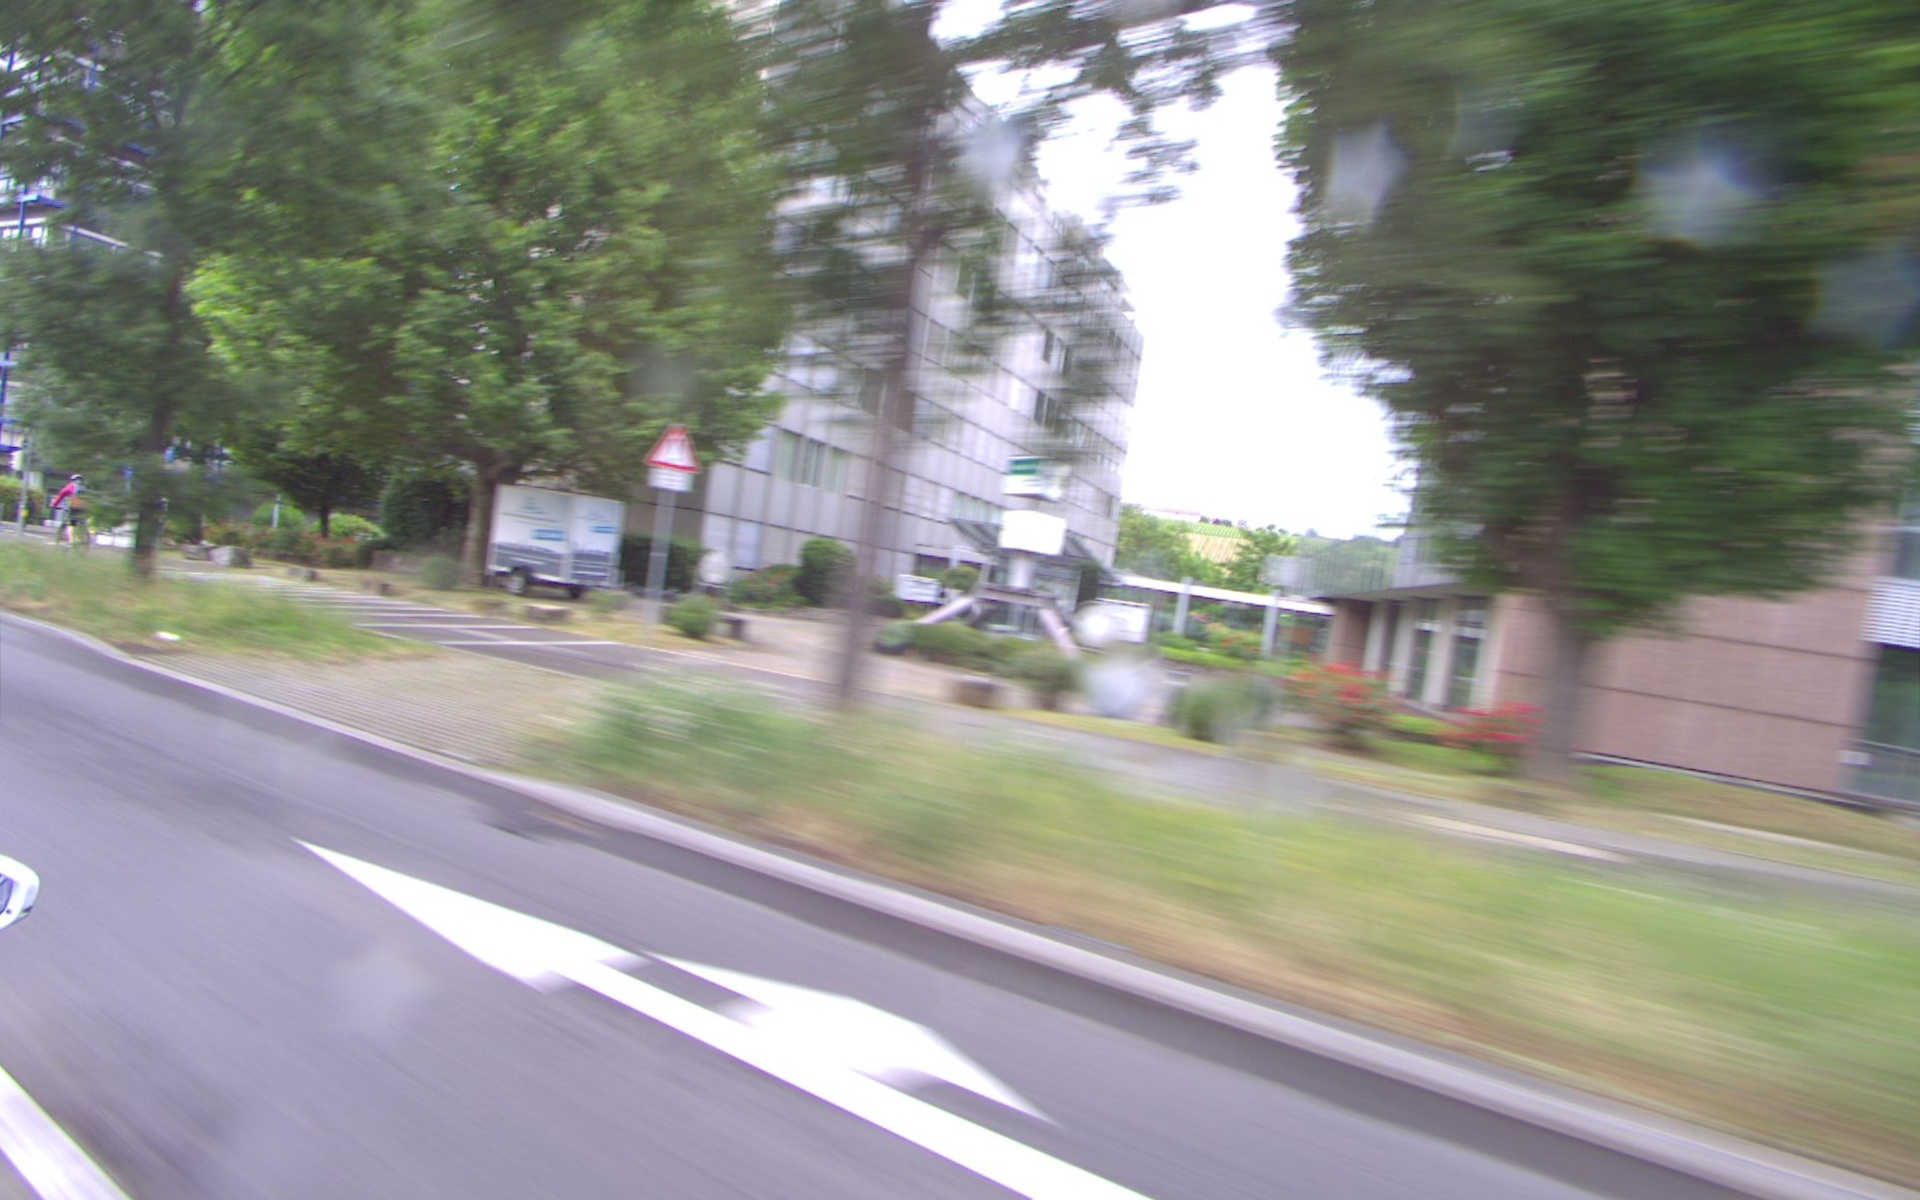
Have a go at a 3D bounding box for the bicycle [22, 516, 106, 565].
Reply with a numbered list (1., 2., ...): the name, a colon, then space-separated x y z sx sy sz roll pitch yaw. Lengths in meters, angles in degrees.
1. bicycle: -19.214 -1.283 21.559 2.280 0.818 0.668 6 -2 32

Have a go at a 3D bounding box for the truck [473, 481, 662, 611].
1. truck: -9.254 -1.286 23.678 3.931 2.547 1.751 6 -1 28

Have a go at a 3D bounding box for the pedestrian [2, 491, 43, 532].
1. pedestrian: -39.198 -3.679 42.072 0.891 1.560 0.796 7 0 -20

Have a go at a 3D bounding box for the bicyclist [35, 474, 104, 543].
1. bicyclist: -19.050 -1.964 21.519 1.199 1.303 0.656 7 -2 32
